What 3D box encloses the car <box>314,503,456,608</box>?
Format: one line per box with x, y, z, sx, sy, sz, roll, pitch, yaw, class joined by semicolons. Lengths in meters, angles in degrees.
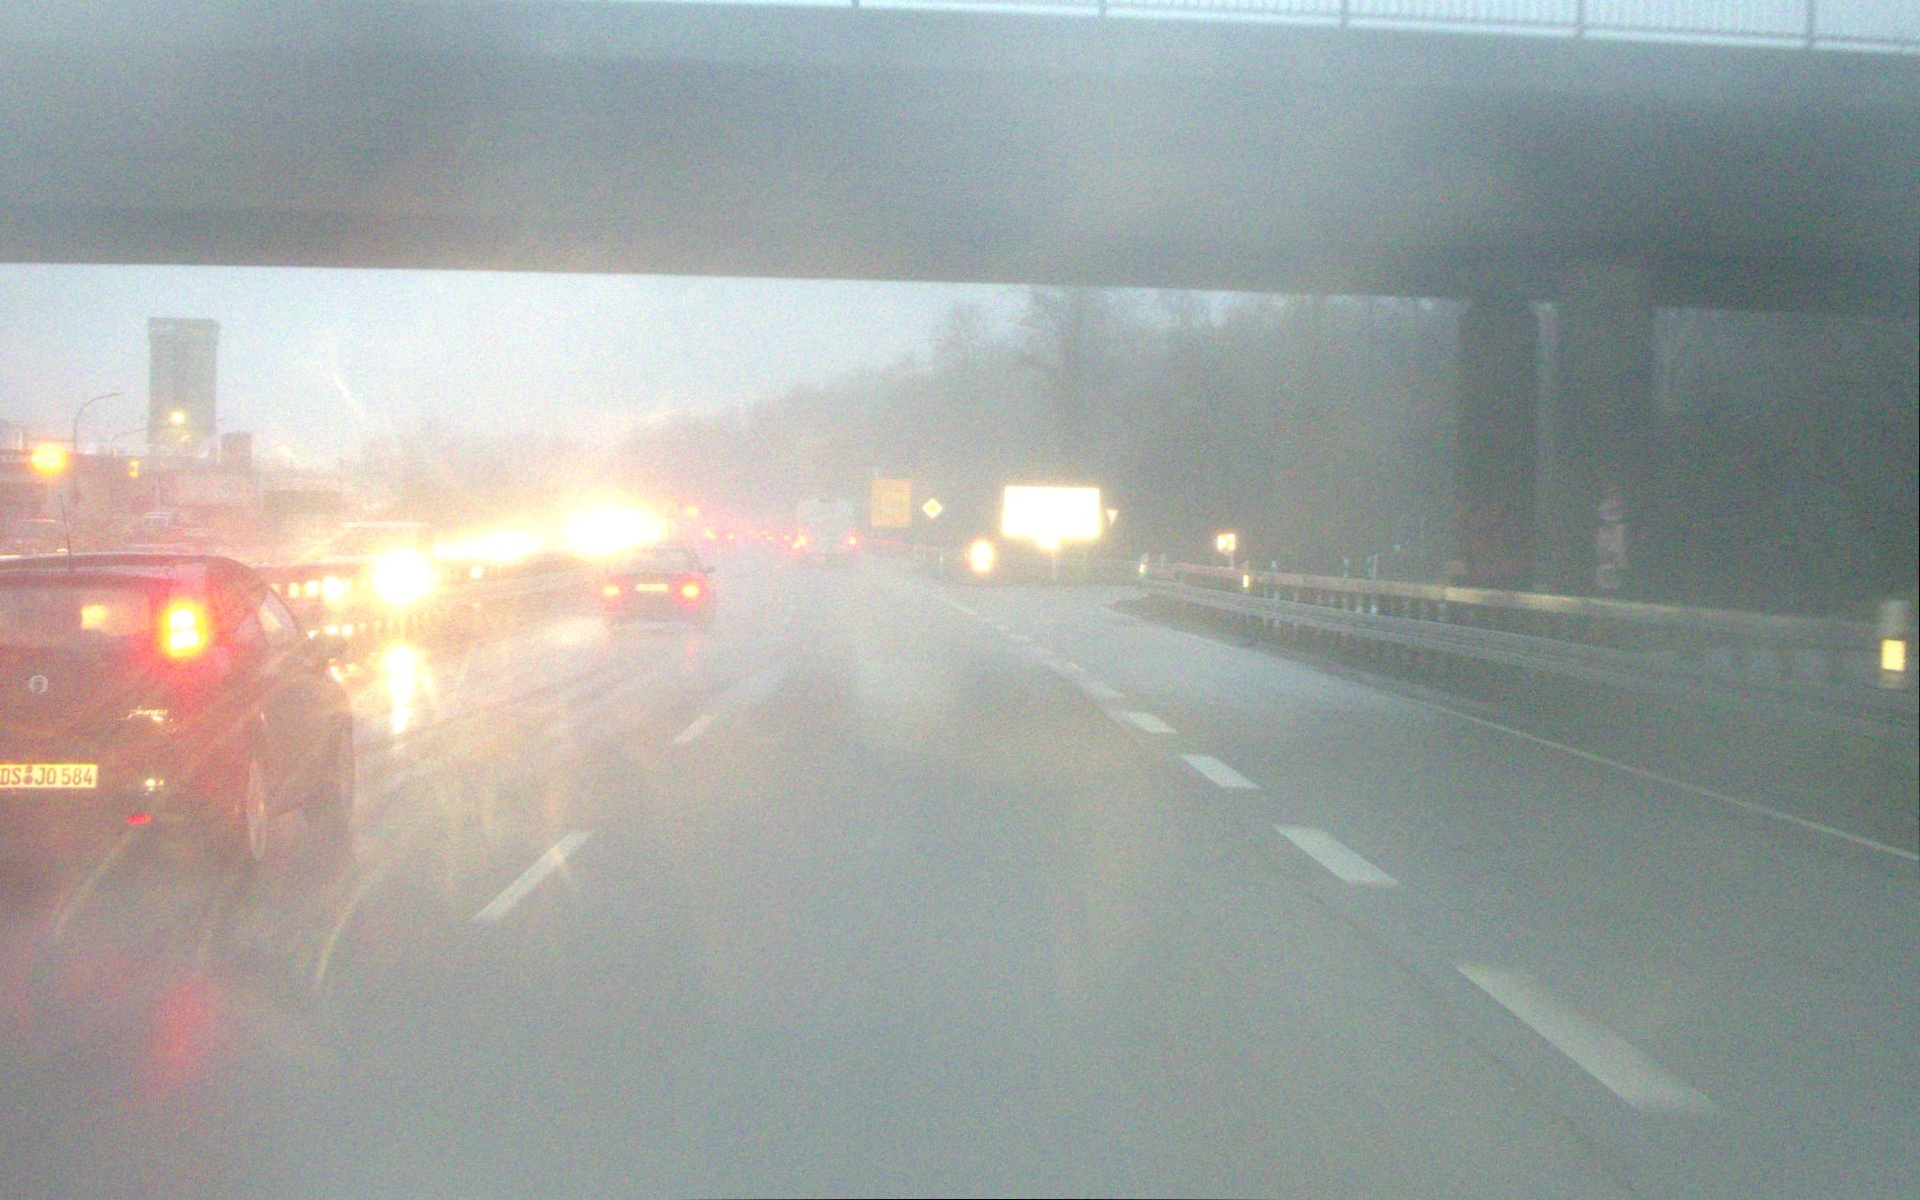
-11.246;-0.910;67.539;1.993;1.866;5.271;3;2;-2;car

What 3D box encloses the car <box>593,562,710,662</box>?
-5.055;0.175;56.735;1.775;1.529;4.703;-2;1;-4;car

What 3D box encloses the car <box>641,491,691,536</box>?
-14.445;-4.267;168.795;2.122;2.113;3.576;2;1;-8;car

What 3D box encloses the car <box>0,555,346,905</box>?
-4.046;0.549;16.805;1.527;1.411;3.479;3;2;-2;car
